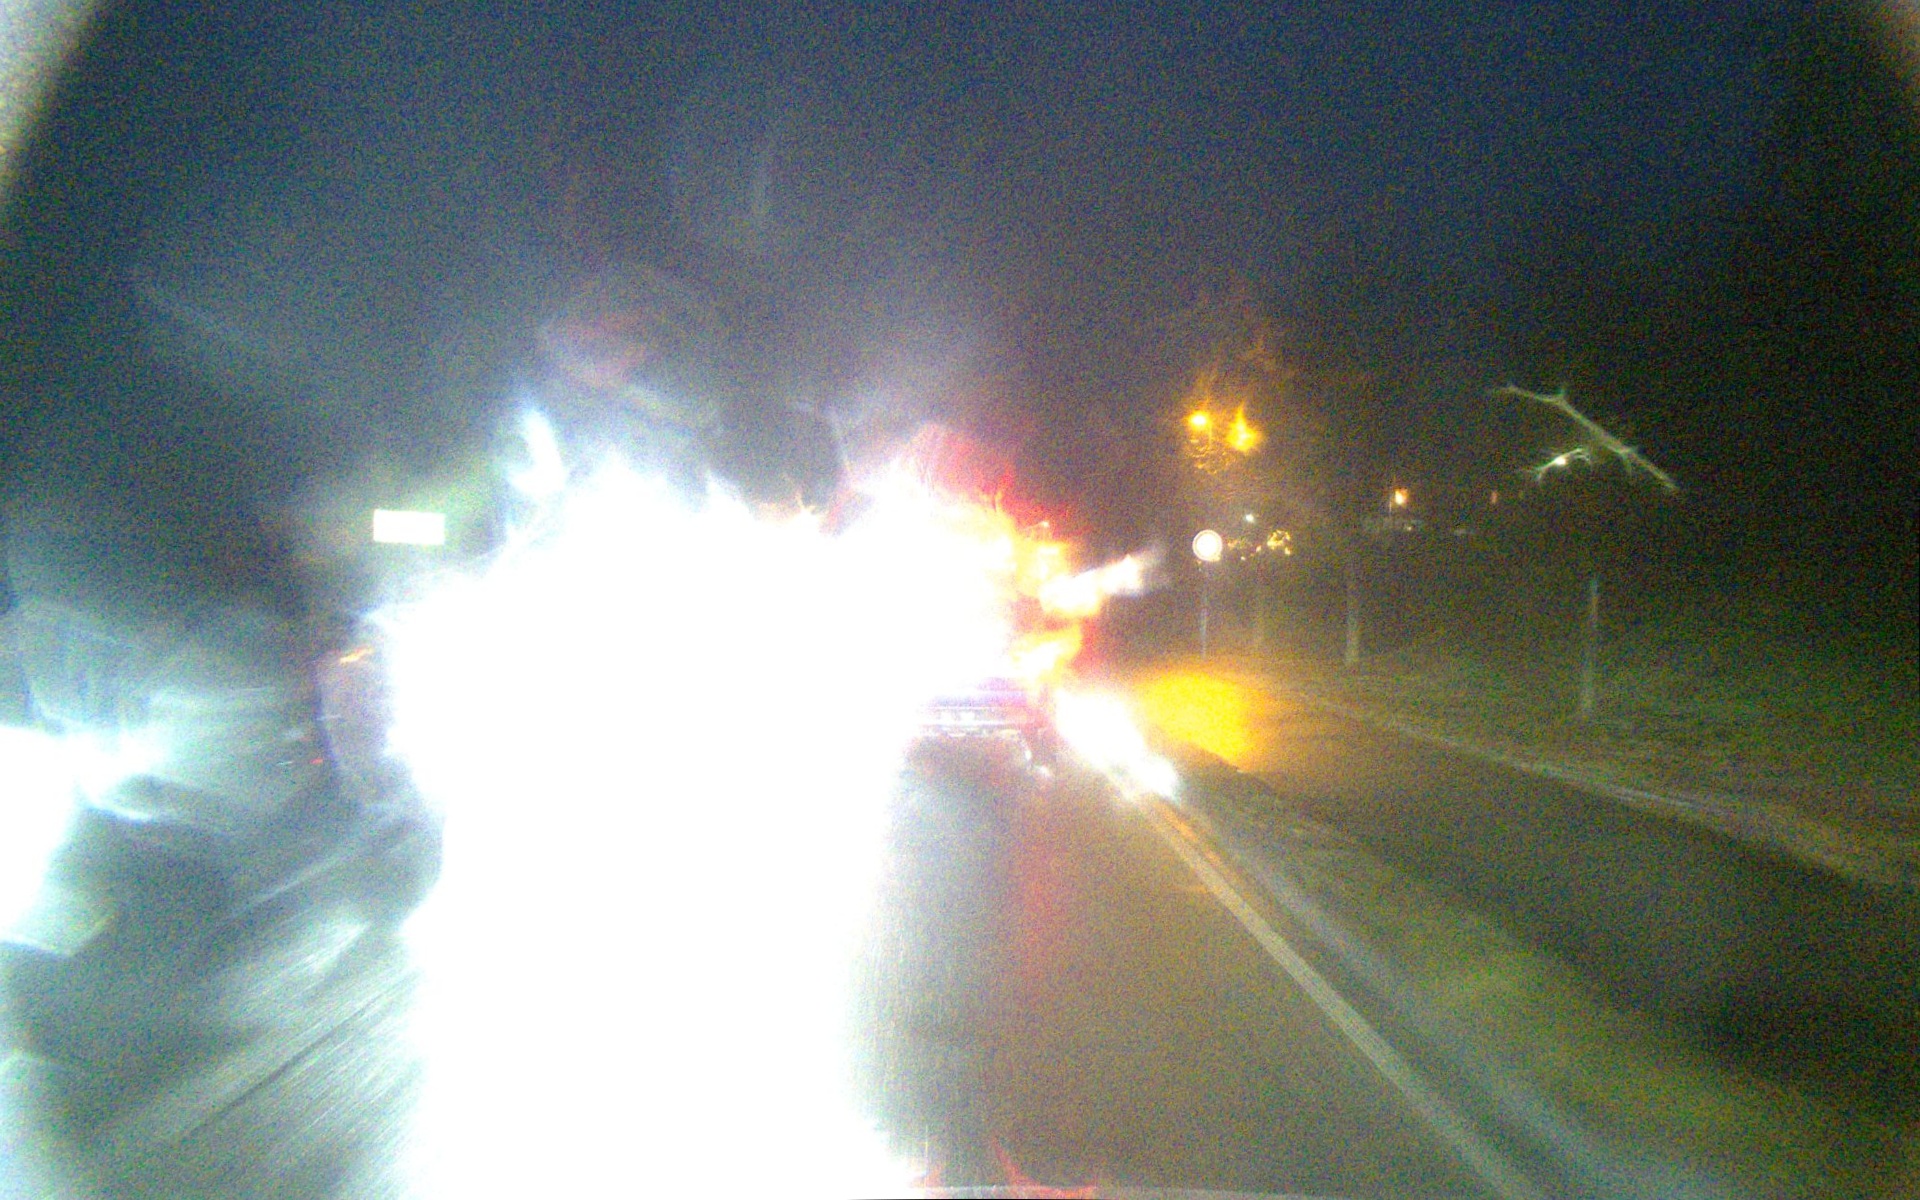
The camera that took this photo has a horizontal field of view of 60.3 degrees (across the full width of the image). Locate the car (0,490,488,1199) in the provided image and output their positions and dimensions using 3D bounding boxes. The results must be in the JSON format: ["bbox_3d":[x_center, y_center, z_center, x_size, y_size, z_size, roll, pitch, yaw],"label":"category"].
[{"bbox_3d":[-3.152,0.571,5.680,1.806,1.698,4.445,1,0,-1],"label":"car"}]

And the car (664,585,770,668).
[{"bbox_3d":[-5.135,0.524,35.408,1.769,1.658,4.413,1,0,-3],"label":"car"}]

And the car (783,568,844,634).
[{"bbox_3d":[-6.434,0.022,73.332,2.079,2.755,6.240,1,0,0],"label":"car"}]

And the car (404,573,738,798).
[{"bbox_3d":[-3.110,0.603,14.226,1.806,1.602,4.596,1,0,0],"label":"car"}]

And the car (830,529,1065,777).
[{"bbox_3d":[-0.151,0.425,15.677,1.903,2.006,4.217,1,0,-1],"label":"car"}]

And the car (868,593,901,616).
[{"bbox_3d":[-5.002,0.303,110.297,2.035,1.474,4.991,1,0,-1],"label":"car"}]

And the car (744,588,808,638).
[{"bbox_3d":[-6.277,0.429,56.870,1.685,1.616,4.312,1,0,0],"label":"car"}]
